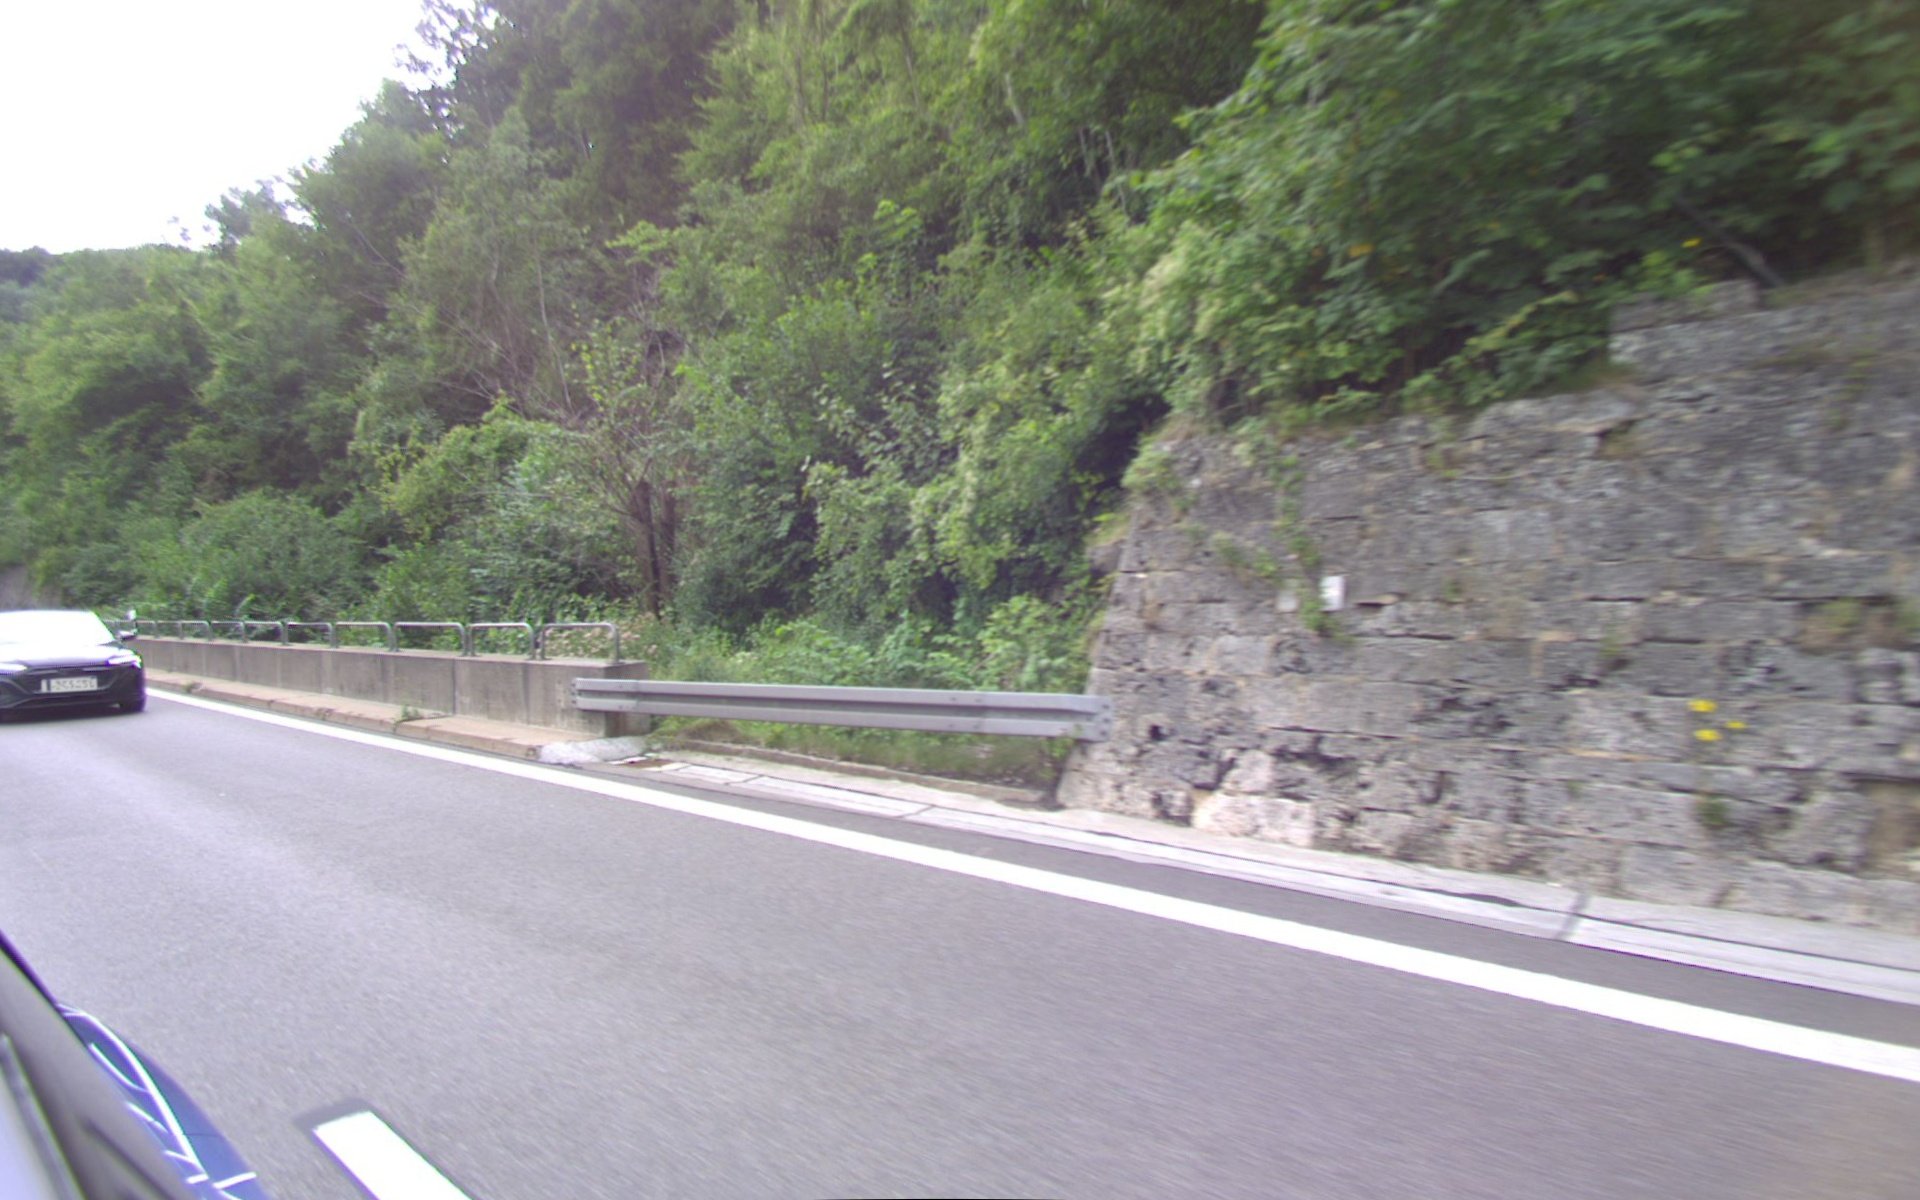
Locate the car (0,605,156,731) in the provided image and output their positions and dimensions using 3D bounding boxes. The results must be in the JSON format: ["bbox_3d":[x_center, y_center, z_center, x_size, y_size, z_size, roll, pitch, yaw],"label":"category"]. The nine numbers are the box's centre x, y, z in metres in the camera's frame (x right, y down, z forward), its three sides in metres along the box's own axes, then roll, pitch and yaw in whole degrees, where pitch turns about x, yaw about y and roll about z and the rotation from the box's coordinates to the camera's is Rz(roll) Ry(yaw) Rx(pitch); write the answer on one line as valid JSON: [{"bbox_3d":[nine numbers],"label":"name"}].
[{"bbox_3d":[-14.669,0.991,16.126,5.006,1.644,1.973,-1,2,41],"label":"car"}]
